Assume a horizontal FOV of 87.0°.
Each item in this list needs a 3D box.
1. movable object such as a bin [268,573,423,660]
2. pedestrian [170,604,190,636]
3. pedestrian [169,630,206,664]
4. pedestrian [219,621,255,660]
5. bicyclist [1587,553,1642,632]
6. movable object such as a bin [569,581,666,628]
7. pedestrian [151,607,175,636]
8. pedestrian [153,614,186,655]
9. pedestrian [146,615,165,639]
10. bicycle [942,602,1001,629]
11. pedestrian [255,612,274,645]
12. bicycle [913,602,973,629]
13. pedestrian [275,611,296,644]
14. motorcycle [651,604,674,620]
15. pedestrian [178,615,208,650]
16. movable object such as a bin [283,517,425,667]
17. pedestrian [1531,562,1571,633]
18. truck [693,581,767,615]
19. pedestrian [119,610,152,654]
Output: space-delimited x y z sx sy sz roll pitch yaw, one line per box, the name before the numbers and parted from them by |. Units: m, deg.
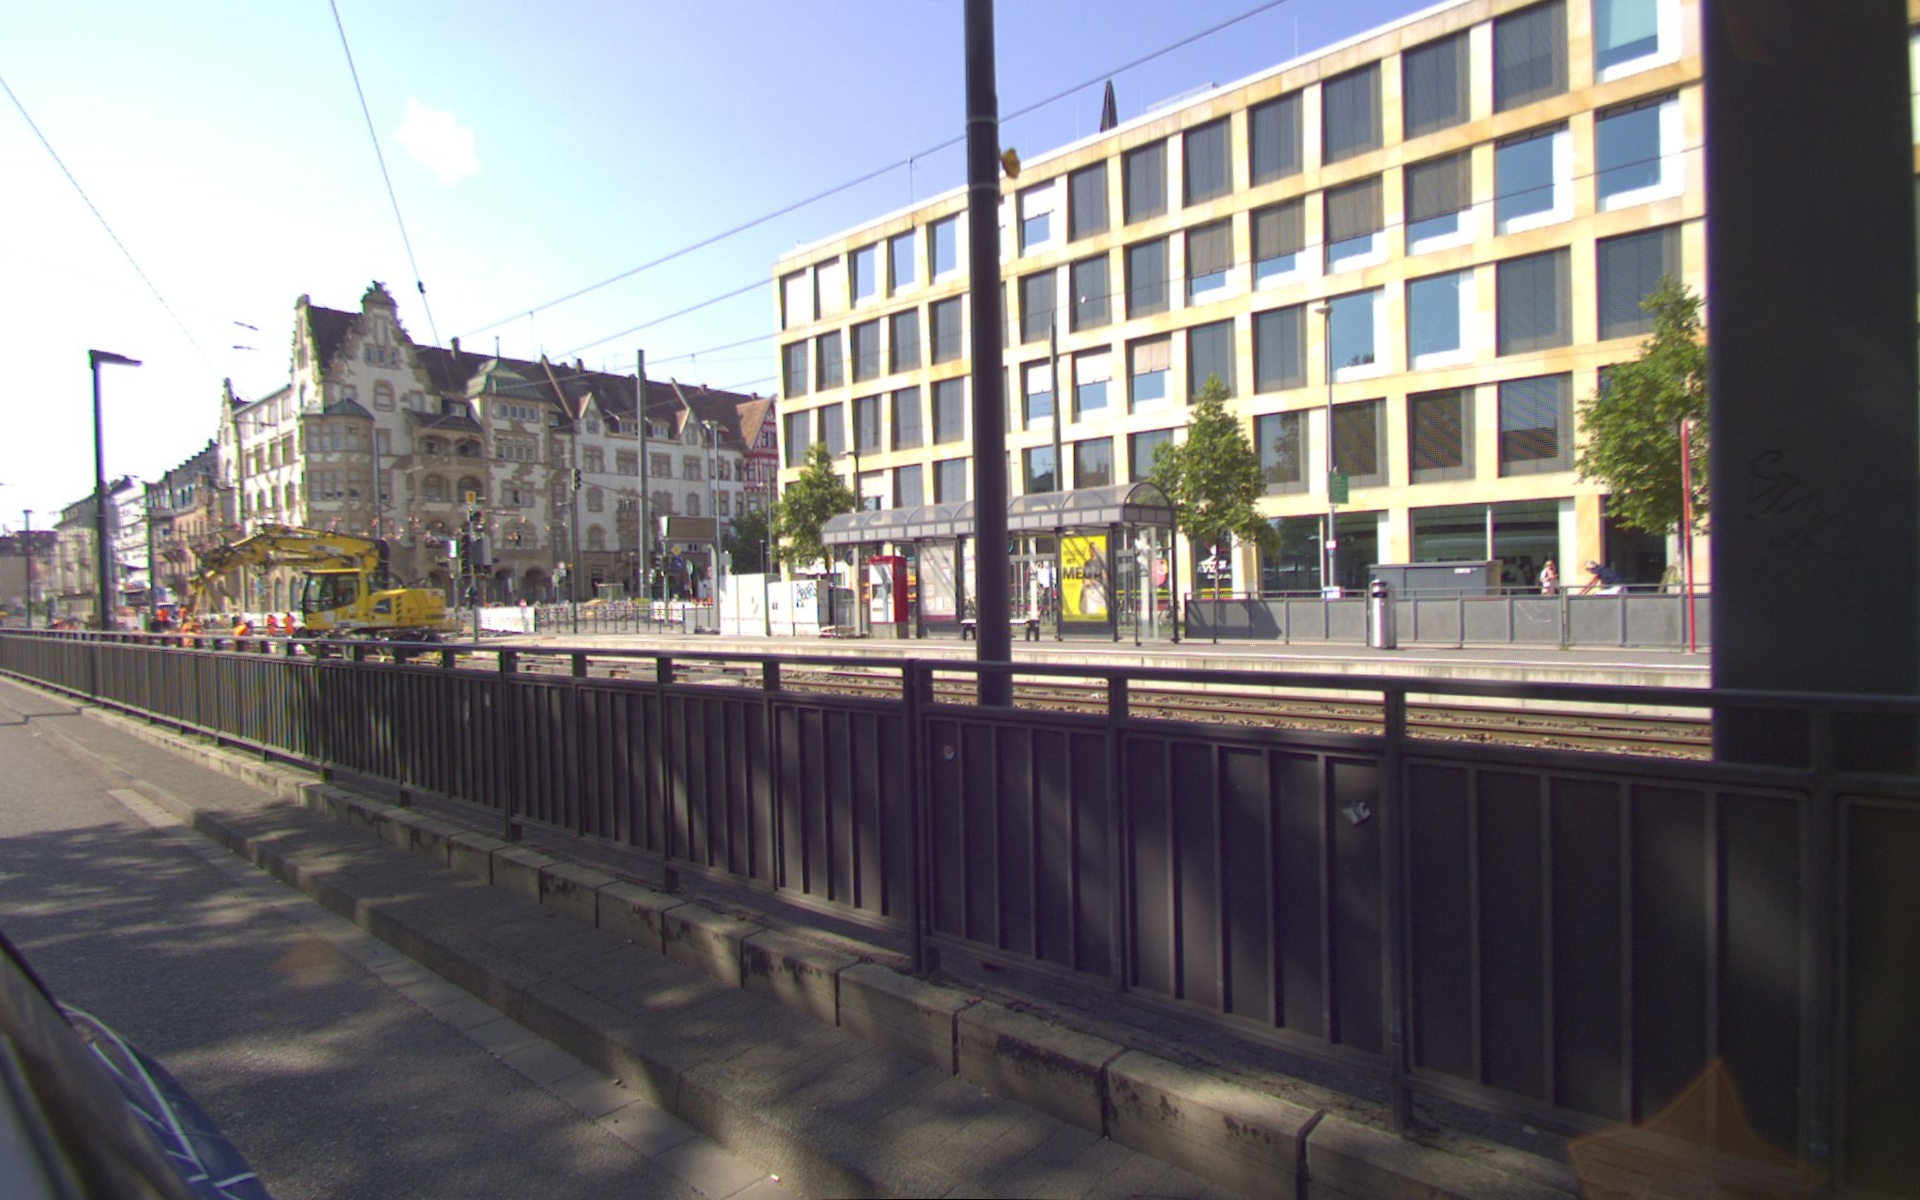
movable object such as a bin | -24.732 0.640 40.857 3.549 3.247 4.089 -2 0 26
pedestrian | -42.565 1.083 55.230 0.678 1.715 0.743 -2 0 41
pedestrian | -22.814 1.386 29.887 0.881 0.962 0.693 -2 0 42
pedestrian | -22.570 1.252 31.607 0.692 1.163 0.589 -2 0 -9
bicyclist | 12.201 -0.131 18.871 0.784 1.413 0.622 0 -2 41
movable object such as a bin | -22.225 0.223 65.807 2.490 2.810 5.444 0 2 42
pedestrian | -43.575 1.158 55.328 0.727 1.568 0.753 -1 0 -1
pedestrian | -26.828 1.154 34.356 0.691 1.345 0.839 -2 0 -28
pedestrian | -42.005 1.413 52.835 0.547 1.256 0.669 -2 0 40
bicycle | 0.475 0.587 38.649 0.944 0.975 2.406 -2 0 39
pedestrian | -36.605 1.477 53.291 0.728 1.715 0.761 -1 0 -30
bicycle | -0.633 0.603 39.563 1.020 0.975 2.406 -2 0 39
pedestrian | -35.921 1.461 53.900 0.758 1.715 0.731 -2 0 40
motorcycle | -17.613 0.707 59.961 0.427 0.885 1.625 1 -1 17
pedestrian | -26.997 1.143 35.634 0.691 1.186 0.704 -2 0 -28
movable object such as a bin | -20.085 -0.231 33.488 4.212 4.588 2.954 -2 0 44
pedestrian | 17.263 -0.071 29.551 0.822 2.029 0.758 -2 0 44
truck | -20.358 -0.196 89.747 2.689 2.836 5.962 -2 0 39
pedestrian | -28.457 1.100 34.938 0.730 1.490 0.705 -2 0 -26
